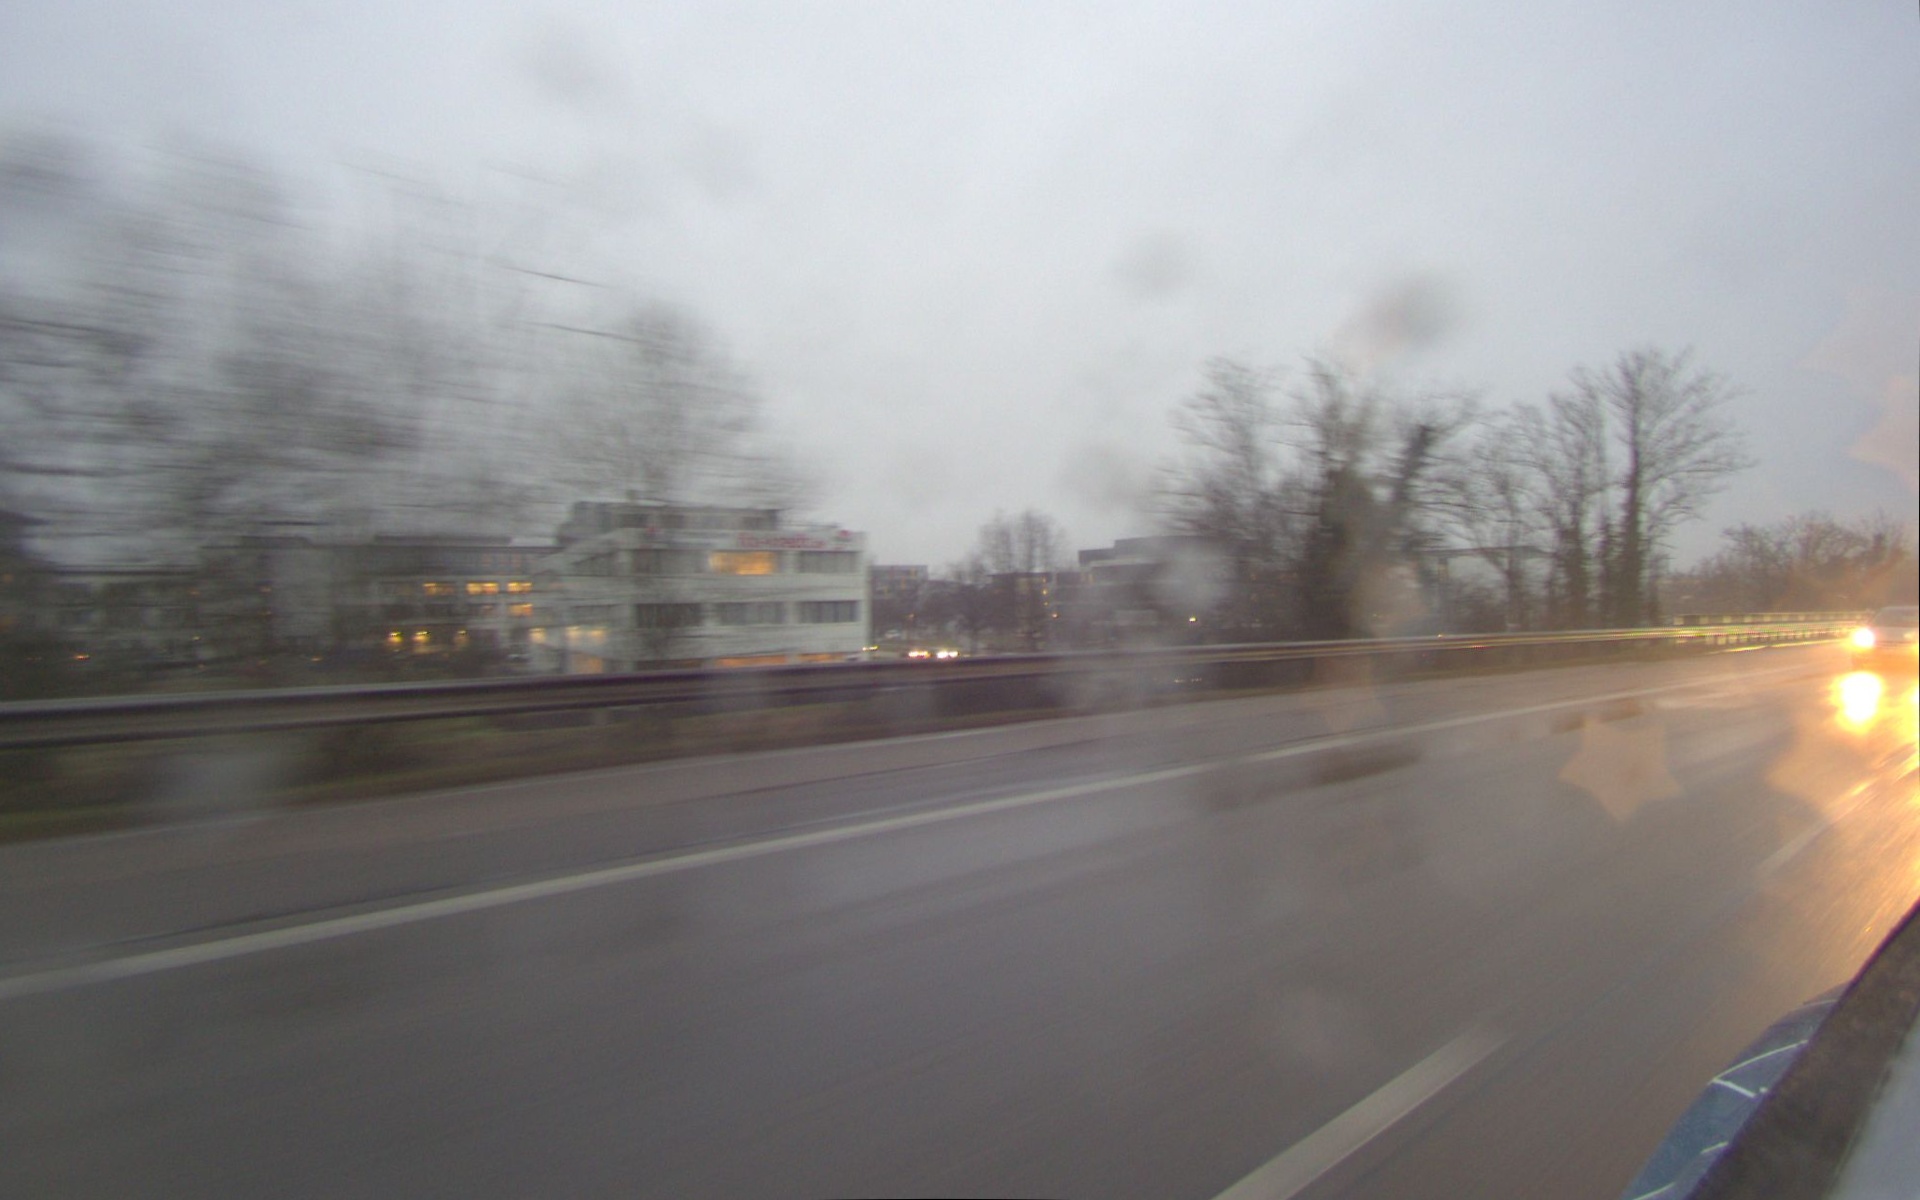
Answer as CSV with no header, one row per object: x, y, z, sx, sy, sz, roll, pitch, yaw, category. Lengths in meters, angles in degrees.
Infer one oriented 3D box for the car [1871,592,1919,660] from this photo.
23.281,0.582,24.071,4.075,1.549,1.849,0,0,-40,car

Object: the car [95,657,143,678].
-93.084,7.459,112.036,3.925,2.039,1.999,0,0,-36,car
